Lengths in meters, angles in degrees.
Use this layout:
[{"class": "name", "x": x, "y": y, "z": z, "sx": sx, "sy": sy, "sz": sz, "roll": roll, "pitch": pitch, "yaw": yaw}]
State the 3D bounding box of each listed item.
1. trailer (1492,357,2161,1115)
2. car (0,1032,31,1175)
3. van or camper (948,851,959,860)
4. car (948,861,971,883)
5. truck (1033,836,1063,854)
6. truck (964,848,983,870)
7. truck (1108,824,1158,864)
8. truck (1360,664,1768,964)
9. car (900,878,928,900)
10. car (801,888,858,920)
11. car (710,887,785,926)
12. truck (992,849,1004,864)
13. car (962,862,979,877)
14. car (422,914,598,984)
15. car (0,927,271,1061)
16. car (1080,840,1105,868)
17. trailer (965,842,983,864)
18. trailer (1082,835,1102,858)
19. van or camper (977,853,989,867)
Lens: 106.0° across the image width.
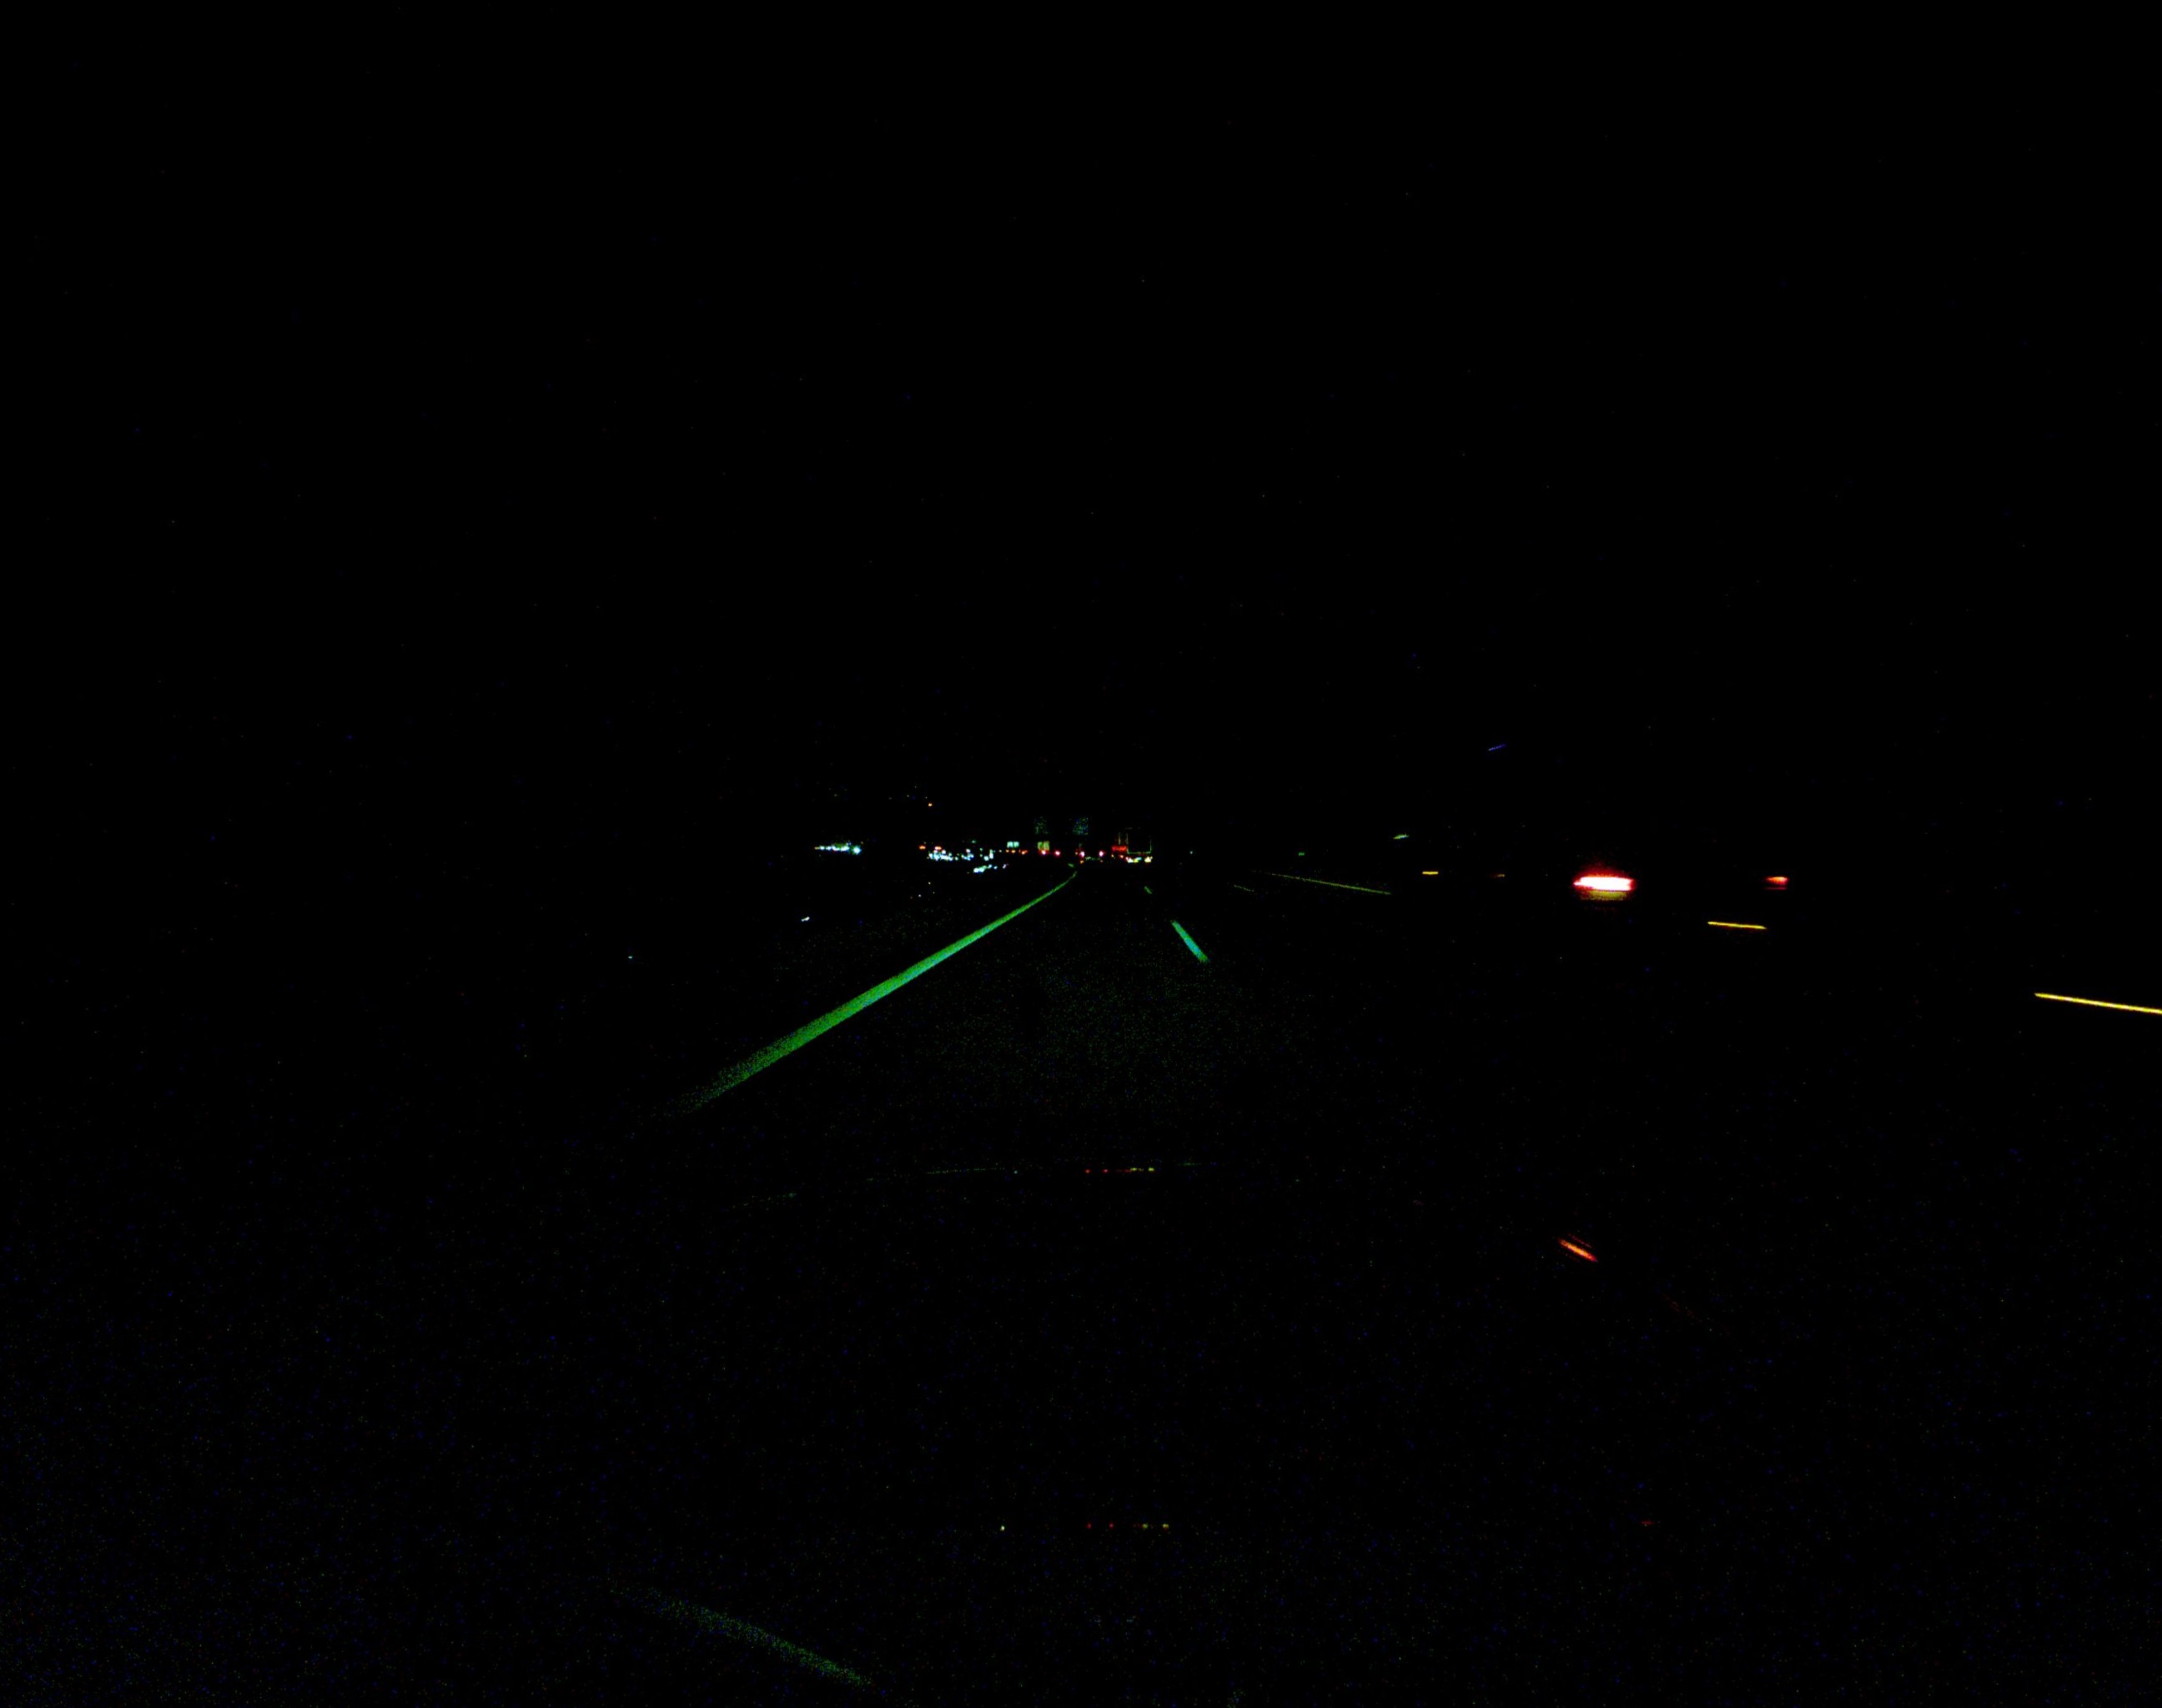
[{"class": "trailer", "x": 7.118, "y": -0.619, "z": 5.400, "sx": 2.862, "sy": 3.931, "sz": 12.897, "roll": -1, "pitch": -1, "yaw": 3}, {"class": "car", "x": -12.087, "y": 2.632, "z": 6.588, "sx": 1.792, "sy": 1.416, "sz": 4.005, "roll": -3, "pitch": 0, "yaw": 4}, {"class": "van or camper", "x": -38.738, "y": 0.433, "z": 247.280, "sx": 2.451, "sy": 2.760, "sz": 6.451, "roll": -4, "pitch": 1, "yaw": -17}, {"class": "car", "x": -14.701, "y": 2.126, "z": 98.780, "sx": 2.022, "sy": 2.441, "sz": 5.692, "roll": -2, "pitch": 0, "yaw": -1}, {"class": "truck", "x": -9.376, "y": -2.632, "z": 226.417, "sx": 3.922, "sy": 4.626, "sz": 20.914, "roll": -4, "pitch": 2, "yaw": -15}, {"class": "truck", "x": -22.012, "y": 1.024, "z": 167.049, "sx": 3.417, "sy": 4.222, "sz": 6.265, "roll": -4, "pitch": 1, "yaw": -8}, {"class": "truck", "x": 5.673, "y": -1.044, "z": 93.983, "sx": 3.475, "sy": 4.134, "sz": 18.687, "roll": -2, "pitch": 0, "yaw": -3}, {"class": "truck", "x": 7.722, "y": -0.525, "z": 14.738, "sx": 2.855, "sy": 3.839, "sz": 8.061, "roll": -2, "pitch": 0, "yaw": 3}, {"class": "car", "x": -14.812, "y": 3.114, "z": 72.374, "sx": 1.748, "sy": 1.716, "sz": 3.997, "roll": -2, "pitch": 0, "yaw": -2}, {"class": "car", "x": -14.351, "y": 2.813, "z": 46.770, "sx": 1.898, "sy": 1.453, "sz": 4.708, "roll": -2, "pitch": 0, "yaw": -2}, {"class": "car", "x": -15.014, "y": 2.332, "z": 36.860, "sx": 1.692, "sy": 1.398, "sz": 4.000, "roll": -2, "pitch": 0, "yaw": 0}, {"class": "truck", "x": -21.095, "y": 0.555, "z": 206.047, "sx": 2.653, "sy": 3.591, "sz": 8.525, "roll": -2, "pitch": 0, "yaw": -8}, {"class": "car", "x": -17.201, "y": 2.349, "z": 127.146, "sx": 2.135, "sy": 2.054, "sz": 5.106, "roll": -4, "pitch": 1, "yaw": -3}, {"class": "car", "x": -15.565, "y": 2.533, "z": 22.476, "sx": 1.698, "sy": 1.376, "sz": 4.007, "roll": -3, "pitch": 0, "yaw": 6}, {"class": "car", "x": -15.969, "y": 2.144, "z": 12.858, "sx": 1.984, "sy": 1.548, "sz": 4.145, "roll": -2, "pitch": 0, "yaw": 5}, {"class": "car", "x": 1.157, "y": -0.013, "z": 80.954, "sx": 2.328, "sy": 2.640, "sz": 5.250, "roll": 0, "pitch": 0, "yaw": 2}, {"class": "trailer", "x": -22.641, "y": -0.219, "z": 172.428, "sx": 3.433, "sy": 4.241, "sz": 12.798, "roll": -2, "pitch": 0, "yaw": -7}, {"class": "trailer", "x": 2.226, "y": -1.536, "z": 164.677, "sx": 2.848, "sy": 4.066, "sz": 13.190, "roll": -3, "pitch": 2, "yaw": -4}, {"class": "van or camper", "x": -22.631, "y": 1.408, "z": 188.313, "sx": 1.837, "sy": 2.971, "sz": 6.369, "roll": -4, "pitch": 1, "yaw": -14}]
